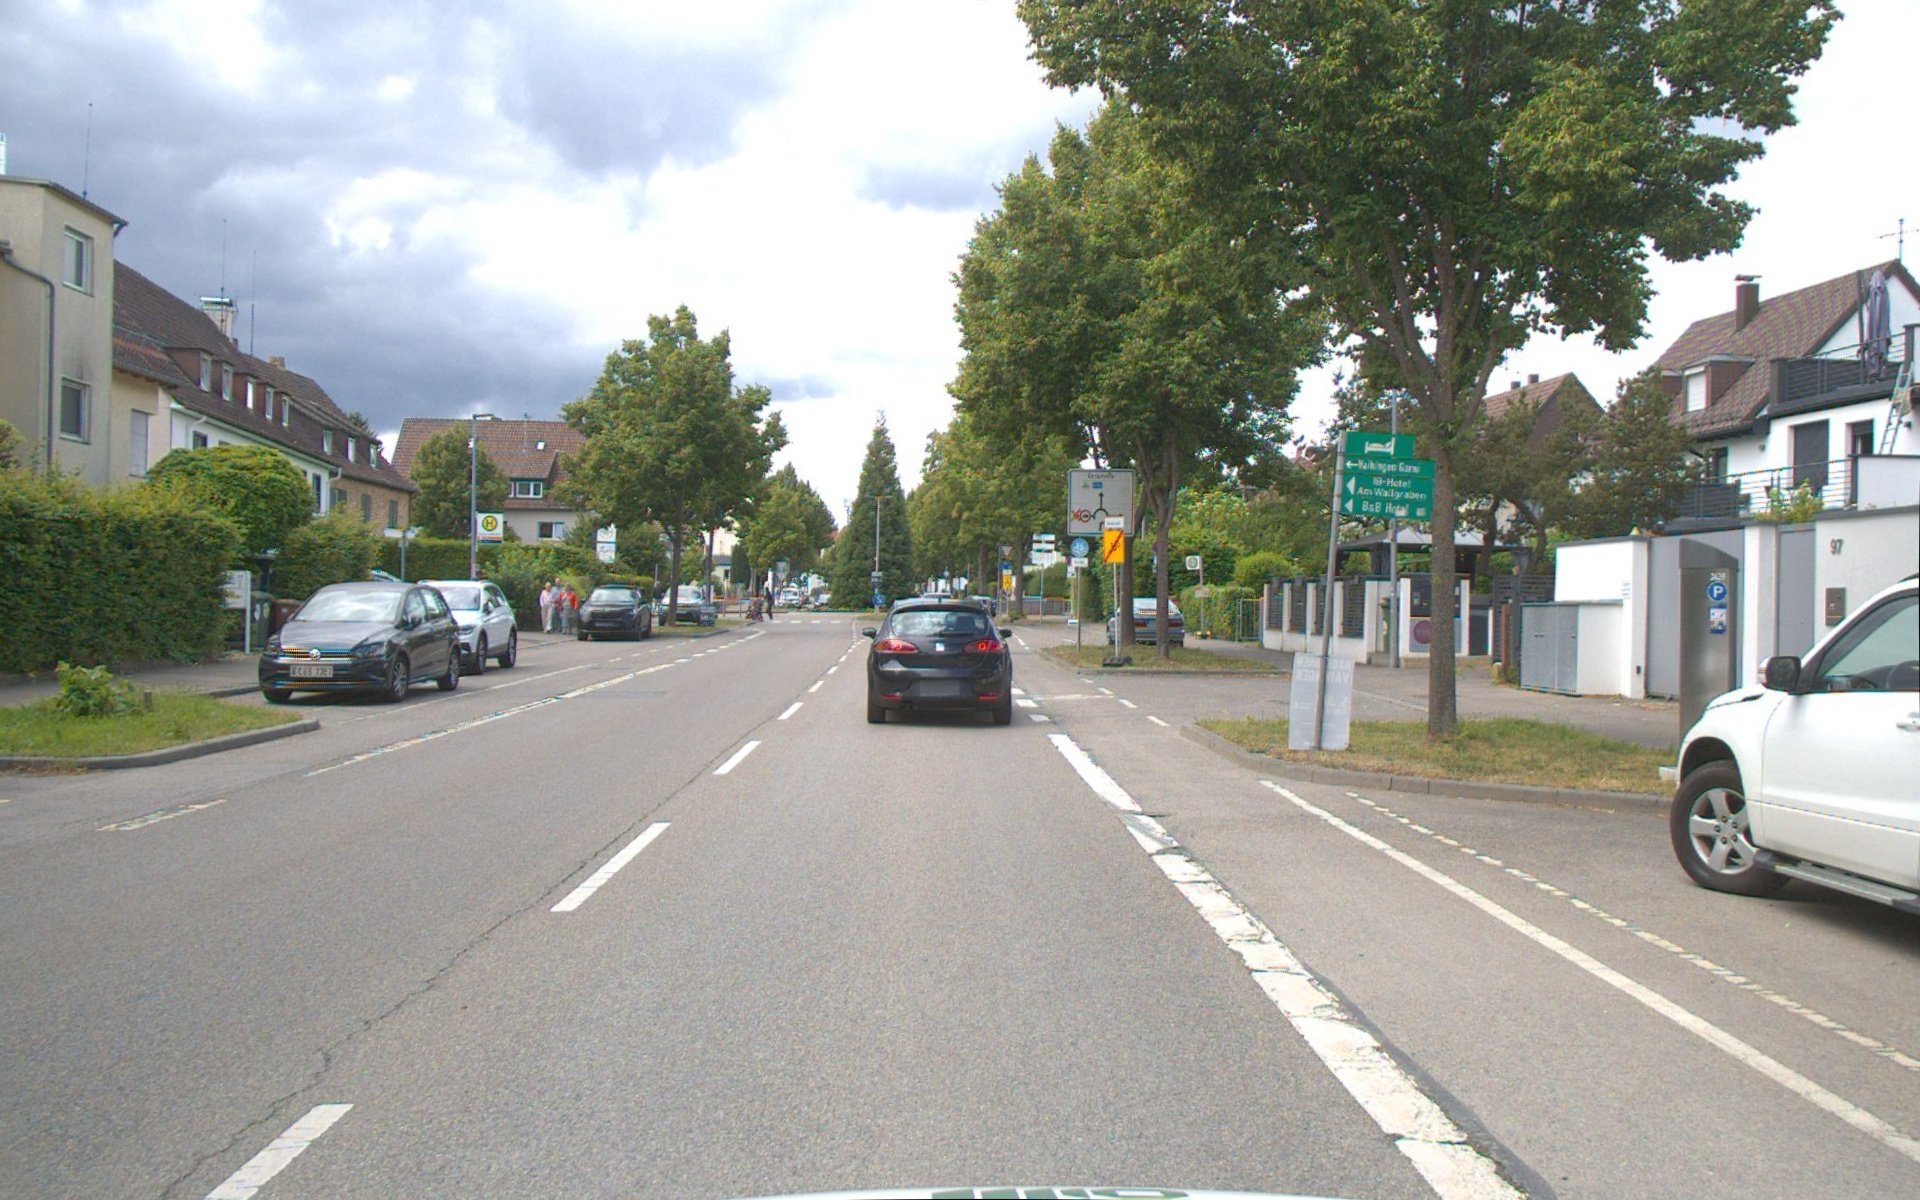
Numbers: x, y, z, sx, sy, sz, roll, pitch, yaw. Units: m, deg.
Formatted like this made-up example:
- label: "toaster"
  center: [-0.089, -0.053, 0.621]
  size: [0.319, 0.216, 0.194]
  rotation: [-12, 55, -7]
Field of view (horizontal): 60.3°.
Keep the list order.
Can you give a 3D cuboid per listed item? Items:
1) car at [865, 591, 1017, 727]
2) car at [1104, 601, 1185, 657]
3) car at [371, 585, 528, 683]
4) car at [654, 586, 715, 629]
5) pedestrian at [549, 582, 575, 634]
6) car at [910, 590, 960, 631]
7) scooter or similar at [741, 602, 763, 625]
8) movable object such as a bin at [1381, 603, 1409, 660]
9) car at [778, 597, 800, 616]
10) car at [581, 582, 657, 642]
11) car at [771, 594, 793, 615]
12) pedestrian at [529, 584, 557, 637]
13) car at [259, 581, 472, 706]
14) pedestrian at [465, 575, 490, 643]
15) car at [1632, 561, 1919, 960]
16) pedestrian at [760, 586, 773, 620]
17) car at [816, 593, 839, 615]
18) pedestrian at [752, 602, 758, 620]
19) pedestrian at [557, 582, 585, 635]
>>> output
- label: "car"
  center: [-0.186, 0.668, 20.589]
  size: [1.696, 1.512, 4.000]
  rotation: [0, 0, 1]
- label: "car"
  center: [4.927, 0.796, 44.544]
  size: [1.579, 1.401, 4.385]
  rotation: [1, -1, -1]
- label: "car"
  center: [-9.301, 0.574, 30.475]
  size: [1.785, 1.662, 4.582]
  rotation: [0, 0, -5]
- label: "car"
  center: [-11.343, 0.312, 68.318]
  size: [1.823, 1.682, 4.293]
  rotation: [1, 0, -1]
- label: "pedestrian"
  center: [-13.050, 0.274, 54.242]
  size: [0.772, 1.692, 0.590]
  rotation: [1, 0, -9]
- label: "car"
  center: [-1.027, 0.423, 68.279]
  size: [1.953, 1.641, 3.999]
  rotation: [1, 0, -1]
- label: "scooter or similar"
  center: [-10.397, 0.666, 82.605]
  size: [0.953, 1.115, 0.404]
  rotation: [3, -1, -21]
- label: "movable object such as a bin"
  center: [8.678, 0.619, 32.984]
  size: [0.427, 1.129, 0.454]
  rotation: [0, 0, -1]
- label: "car"
  center: [-15.049, 0.560, 145.689]
  size: [1.762, 1.629, 3.998]
  rotation: [0, 0, -3]
- label: "car"
  center: [-10.636, 0.357, 51.848]
  size: [1.690, 1.755, 4.561]
  rotation: [1, 0, -4]
- label: "car"
  center: [-17.604, 0.416, 163.702]
  size: [1.990, 2.005, 3.996]
  rotation: [0, 0, -5]
- label: "pedestrian"
  center: [-13.324, 0.336, 52.852]
  size: [0.772, 1.692, 0.880]
  rotation: [1, 0, -9]
- label: "car"
  center: [-8.198, 0.558, 23.210]
  size: [1.643, 1.579, 4.270]
  rotation: [1, 0, -3]
- label: "pedestrian"
  center: [-13.292, 0.248, 45.537]
  size: [0.493, 1.837, 0.671]
  rotation: [1, 0, -2]
- label: "car"
  center: [4.934, 0.686, 7.671]
  size: [1.862, 1.671, 4.115]
  rotation: [1, 0, -2]
- label: "pedestrian"
  center: [-9.706, 0.150, 82.933]
  size: [0.506, 1.699, 0.480]
  rotation: [1, 0, -19]
- label: "car"
  center: [-10.092, 0.289, 125.971]
  size: [1.537, 1.663, 3.620]
  rotation: [0, 0, -2]
- label: "pedestrian"
  center: [-10.173, 0.555, 82.193]
  size: [0.235, 0.910, 0.257]
  rotation: [0, 0, -27]
- label: "pedestrian"
  center: [-12.552, 0.279, 53.353]
  size: [0.772, 1.692, 0.753]
  rotation: [1, 0, -9]
